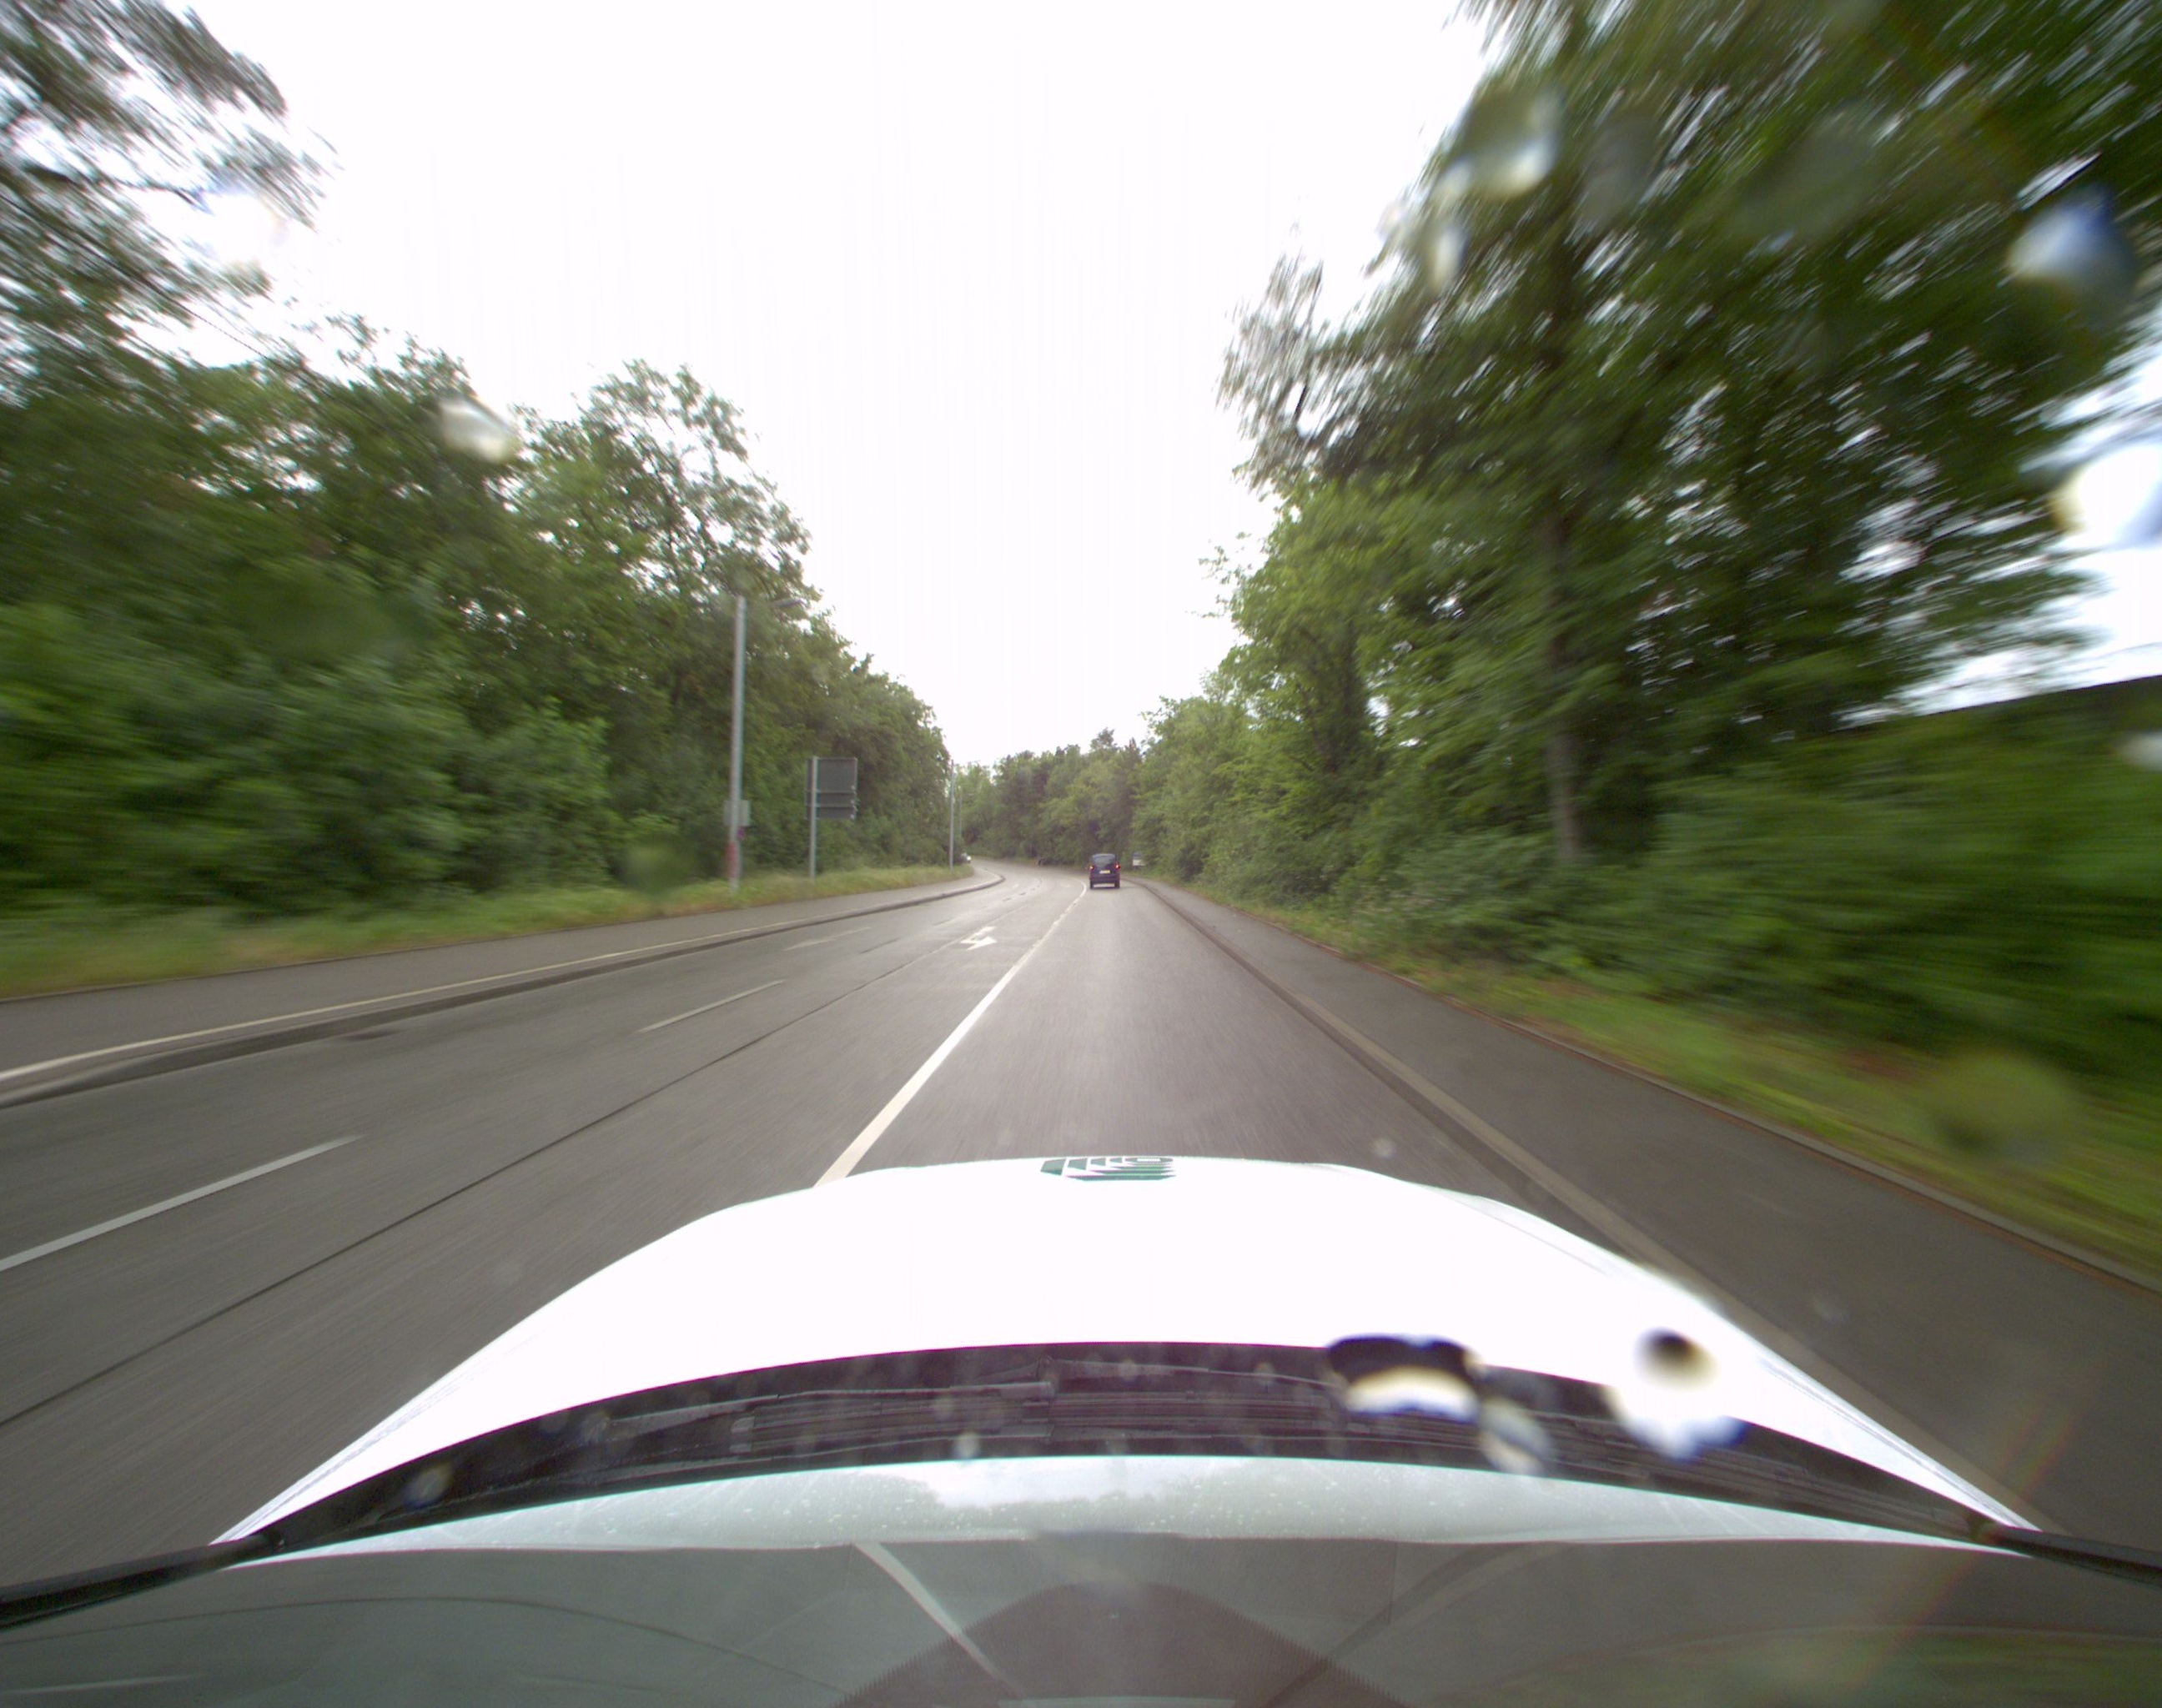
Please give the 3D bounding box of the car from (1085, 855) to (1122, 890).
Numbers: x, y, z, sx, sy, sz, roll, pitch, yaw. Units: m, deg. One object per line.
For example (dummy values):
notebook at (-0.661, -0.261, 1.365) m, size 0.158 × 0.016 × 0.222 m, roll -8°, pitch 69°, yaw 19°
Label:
car at (1.200, 0.995, 45.077) m, size 1.822 × 1.794 × 3.998 m, roll -2°, pitch -1°, yaw -1°

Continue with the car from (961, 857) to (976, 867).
car at (-18.596, 1.373, 134.809) m, size 1.812 × 1.595 × 4.493 m, roll 0°, pitch -1°, yaw -16°
